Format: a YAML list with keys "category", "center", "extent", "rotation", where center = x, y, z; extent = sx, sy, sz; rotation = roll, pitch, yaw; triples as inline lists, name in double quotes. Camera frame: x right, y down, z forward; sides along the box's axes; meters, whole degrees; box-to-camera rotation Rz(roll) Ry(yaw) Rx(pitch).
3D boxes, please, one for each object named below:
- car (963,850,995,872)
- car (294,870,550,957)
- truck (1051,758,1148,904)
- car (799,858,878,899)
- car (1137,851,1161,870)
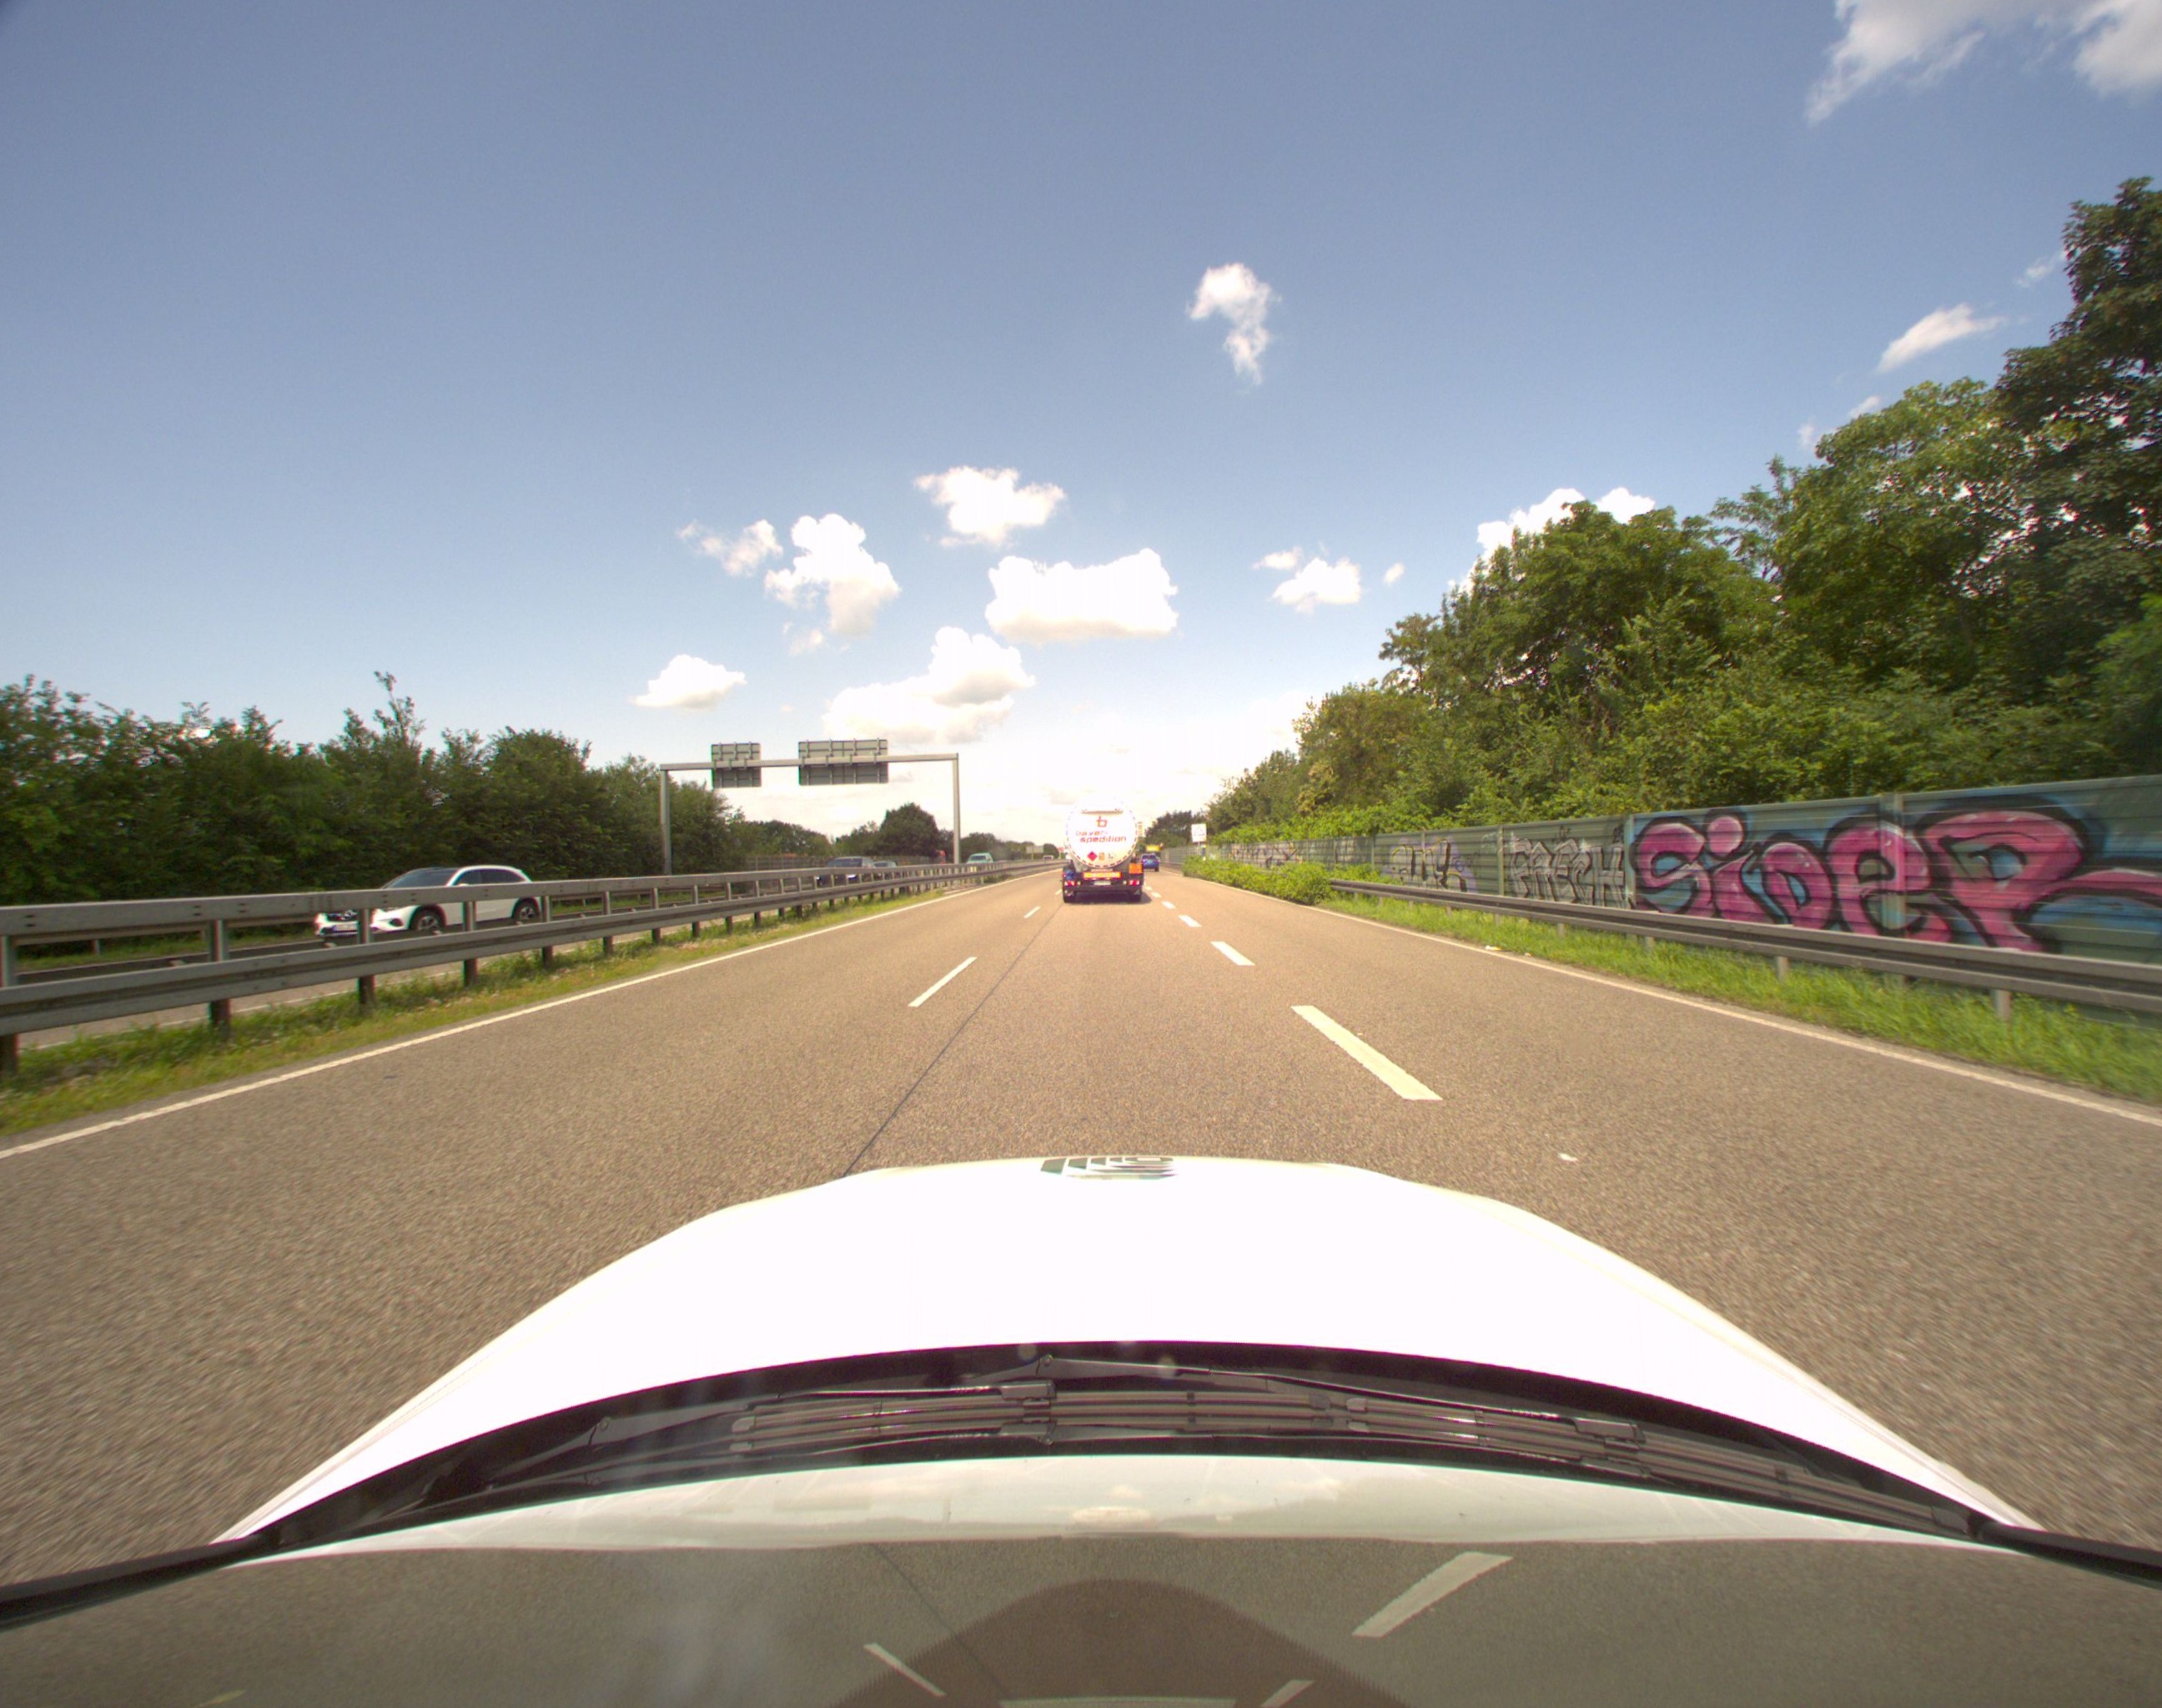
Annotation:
- category: "car"
  center: [-8.833, 0.591, 71.237]
  extent: [1.986, 1.863, 5.394]
  rotation: [0, -1, 1]
- category: "car"
  center: [-14.493, 1.217, 18.358]
  extent: [1.953, 1.646, 4.552]
  rotation: [0, -1, 2]
- category: "truck"
  center: [0.680, -0.656, 28.378]
  extent: [2.884, 4.369, 8.032]
  rotation: [0, -1, 2]
- category: "car"
  center: [-10.139, 0.981, 34.407]
  extent: [1.986, 1.597, 4.134]
  rotation: [0, -1, 1]
- category: "car"
  center: [6.238, 0.620, 74.660]
  extent: [1.986, 1.706, 4.001]
  rotation: [0, -1, 2]
